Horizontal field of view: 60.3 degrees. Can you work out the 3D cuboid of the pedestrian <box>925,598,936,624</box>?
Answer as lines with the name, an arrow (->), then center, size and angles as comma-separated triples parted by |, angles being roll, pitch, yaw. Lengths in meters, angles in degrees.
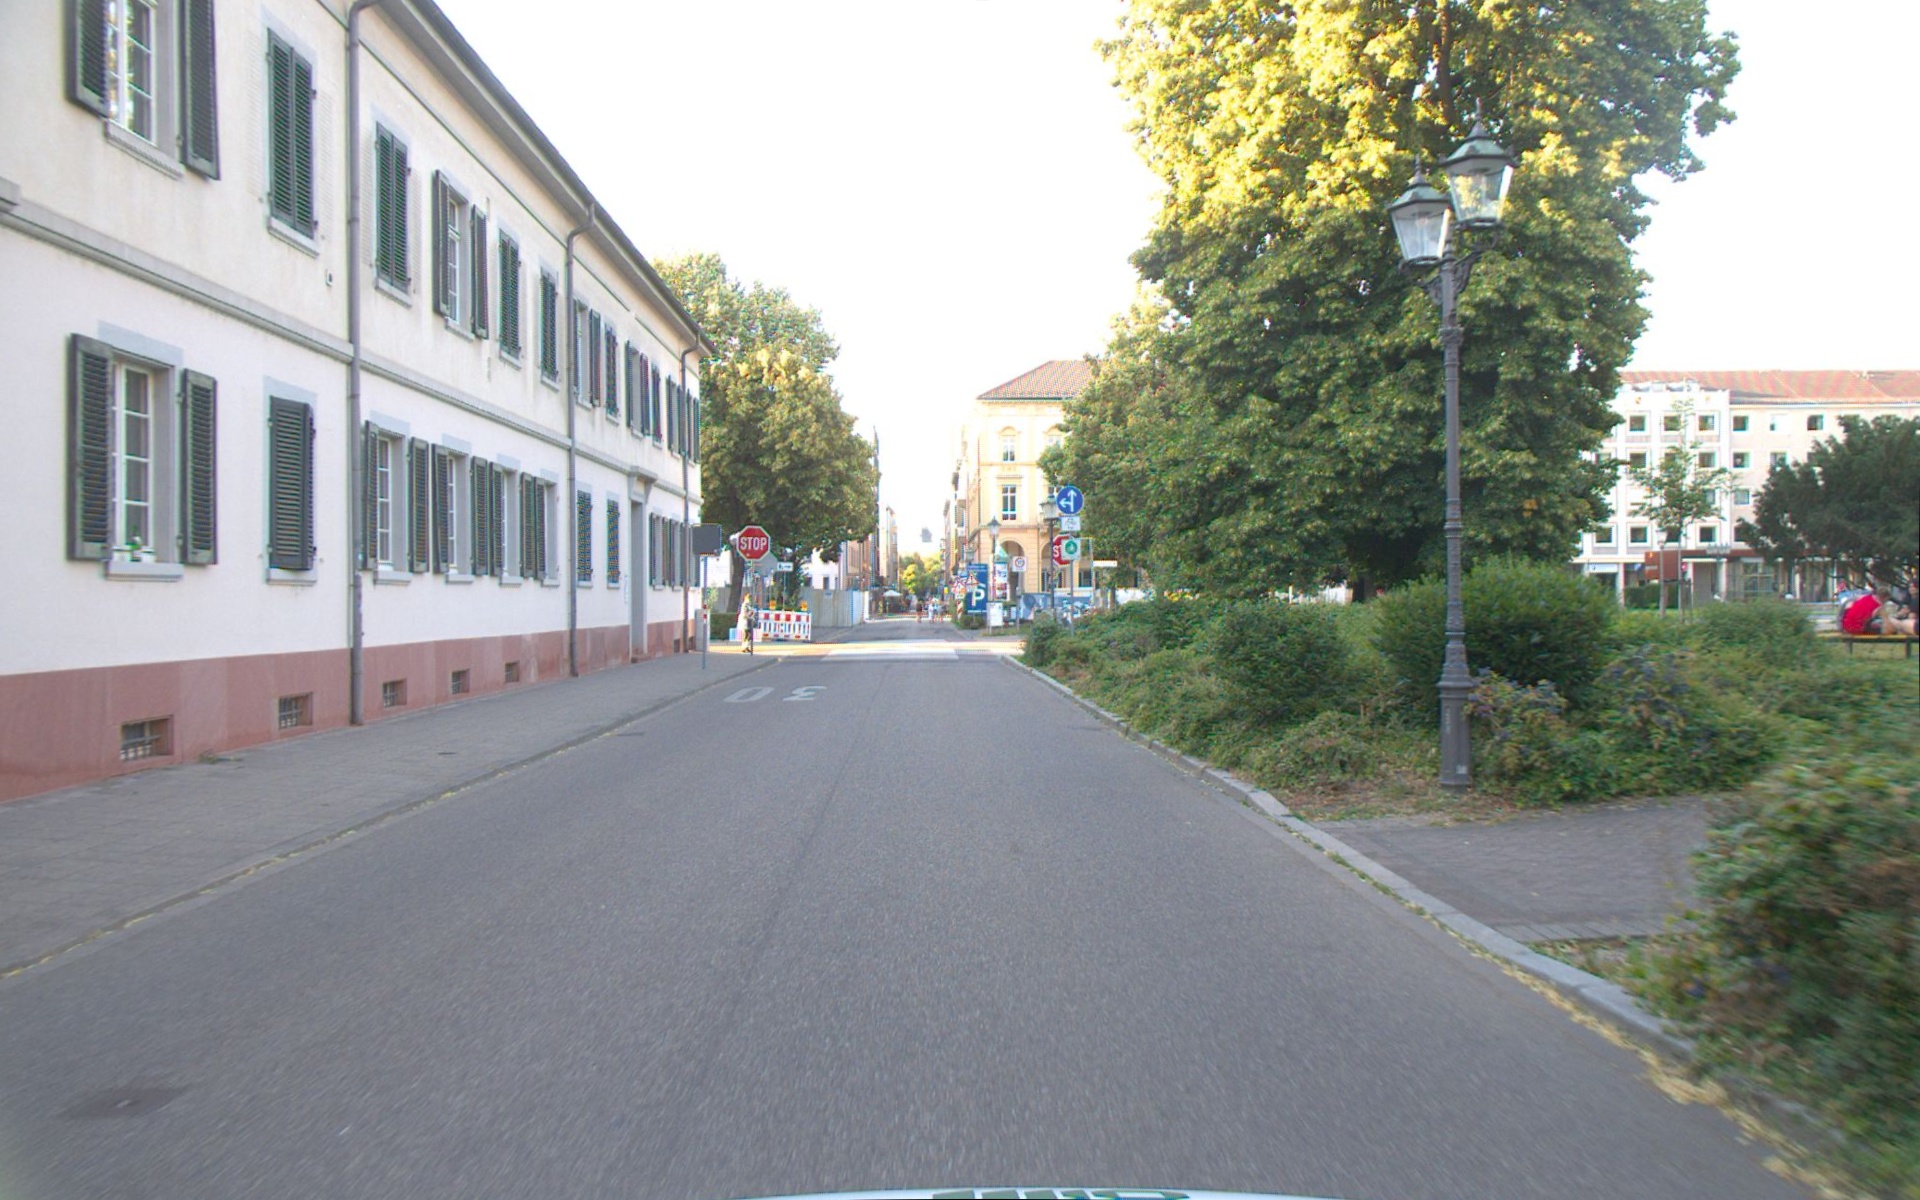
pedestrian -> -1.926, 0.708, 108.291 | 0.644, 1.645, 0.745 | -1, 0, -1

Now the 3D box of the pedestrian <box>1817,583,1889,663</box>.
pedestrian -> 13.843, 0.350, 25.647 | 0.707, 1.212, 0.747 | -1, 0, 2

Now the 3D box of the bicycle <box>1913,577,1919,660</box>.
bicycle -> 15.738, 0.289, 25.633 | 0.607, 1.322, 2.016 | -1, 0, -6

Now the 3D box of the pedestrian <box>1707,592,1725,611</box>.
pedestrian -> 46.000, 0.098, 100.673 | 0.877, 1.096, 0.622 | -1, 0, 16

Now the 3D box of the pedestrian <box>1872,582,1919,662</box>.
pedestrian -> 14.598, 0.326, 25.358 | 0.790, 1.212, 0.789 | -1, 0, 2

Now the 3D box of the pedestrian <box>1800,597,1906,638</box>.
pedestrian -> 13.404, 0.268, 24.850 | 0.532, 0.559, 1.369 | -4, 1, -20

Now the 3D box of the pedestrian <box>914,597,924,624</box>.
pedestrian -> -2.743, 0.710, 110.047 | 0.644, 1.790, 0.745 | -1, 0, -1

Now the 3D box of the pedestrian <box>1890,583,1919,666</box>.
pedestrian -> 14.074, 0.352, 24.290 | 0.649, 1.212, 0.794 | -1, 0, 26

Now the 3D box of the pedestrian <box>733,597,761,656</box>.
pedestrian -> -6.282, 0.774, 48.805 | 0.719, 1.719, 0.836 | -1, 0, -2

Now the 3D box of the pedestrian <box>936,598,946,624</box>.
pedestrian -> -1.238, 0.717, 108.325 | 0.644, 1.645, 0.745 | -1, 0, -1

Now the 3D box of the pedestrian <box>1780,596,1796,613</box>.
pedestrian -> 46.633, 0.276, 93.171 | 0.504, 0.941, 0.616 | -1, 0, -27
